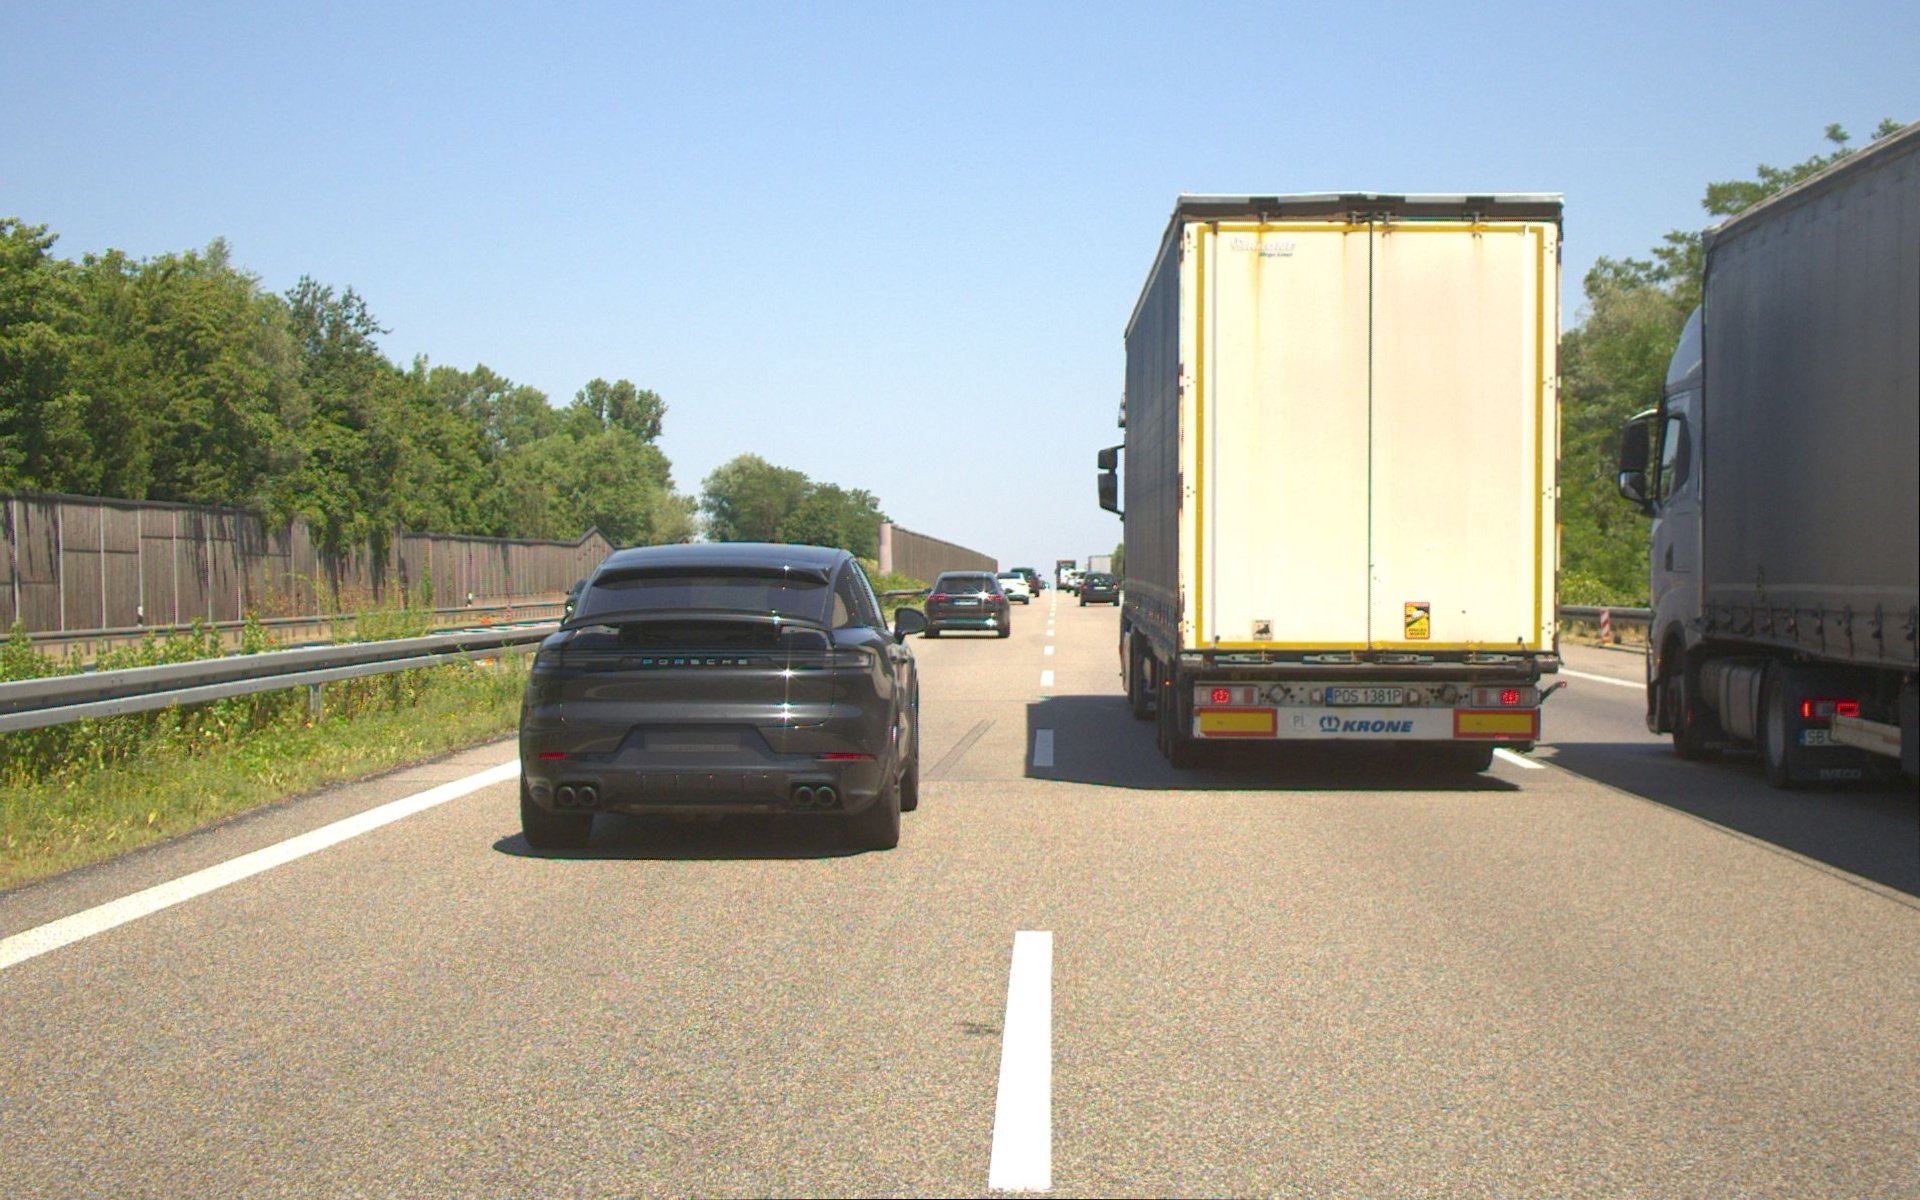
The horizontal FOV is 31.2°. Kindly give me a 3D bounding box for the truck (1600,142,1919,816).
[{"bbox_3d":[6.776,-0.815,25.402,2.691,4.201,7.838,-1,1,1],"label":"truck"}]

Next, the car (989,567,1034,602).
[{"bbox_3d":[2.342,-0.712,155.829,1.855,1.481,4.000,-2,1,3],"label":"car"}]

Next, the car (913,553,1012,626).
[{"bbox_3d":[0.097,-0.264,77.827,1.943,1.501,5.820,-2,1,3],"label":"car"}]

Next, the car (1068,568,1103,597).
[{"bbox_3d":[7.402,-1.021,202.570,1.855,1.611,4.000,-2,1,0],"label":"car"}]

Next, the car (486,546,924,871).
[{"bbox_3d":[-1.310,0.500,20.130,2.044,1.619,5.772,0,1,1],"label":"car"}]

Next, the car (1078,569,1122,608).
[{"bbox_3d":[6.017,-0.514,148.303,1.855,1.611,4.000,-1,1,2],"label":"car"}]

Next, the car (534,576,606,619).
[{"bbox_3d":[-13.819,-0.113,122.058,1.959,1.428,4.880,-1,1,1],"label":"car"}]

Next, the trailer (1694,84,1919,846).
[{"bbox_3d":[6.645,-0.750,18.573,2.703,4.201,13.212,-1,1,1],"label":"trailer"}]

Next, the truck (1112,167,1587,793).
[{"bbox_3d":[2.865,-0.856,29.398,2.707,4.072,13.473,-1,1,1],"label":"truck"}]

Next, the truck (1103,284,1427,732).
[{"bbox_3d":[2.960,-0.884,35.307,2.728,4.072,7.277,-1,1,1],"label":"truck"}]

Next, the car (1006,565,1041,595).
[{"bbox_3d":[3.610,-1.135,195.788,1.855,1.611,4.000,-2,1,0],"label":"car"}]
